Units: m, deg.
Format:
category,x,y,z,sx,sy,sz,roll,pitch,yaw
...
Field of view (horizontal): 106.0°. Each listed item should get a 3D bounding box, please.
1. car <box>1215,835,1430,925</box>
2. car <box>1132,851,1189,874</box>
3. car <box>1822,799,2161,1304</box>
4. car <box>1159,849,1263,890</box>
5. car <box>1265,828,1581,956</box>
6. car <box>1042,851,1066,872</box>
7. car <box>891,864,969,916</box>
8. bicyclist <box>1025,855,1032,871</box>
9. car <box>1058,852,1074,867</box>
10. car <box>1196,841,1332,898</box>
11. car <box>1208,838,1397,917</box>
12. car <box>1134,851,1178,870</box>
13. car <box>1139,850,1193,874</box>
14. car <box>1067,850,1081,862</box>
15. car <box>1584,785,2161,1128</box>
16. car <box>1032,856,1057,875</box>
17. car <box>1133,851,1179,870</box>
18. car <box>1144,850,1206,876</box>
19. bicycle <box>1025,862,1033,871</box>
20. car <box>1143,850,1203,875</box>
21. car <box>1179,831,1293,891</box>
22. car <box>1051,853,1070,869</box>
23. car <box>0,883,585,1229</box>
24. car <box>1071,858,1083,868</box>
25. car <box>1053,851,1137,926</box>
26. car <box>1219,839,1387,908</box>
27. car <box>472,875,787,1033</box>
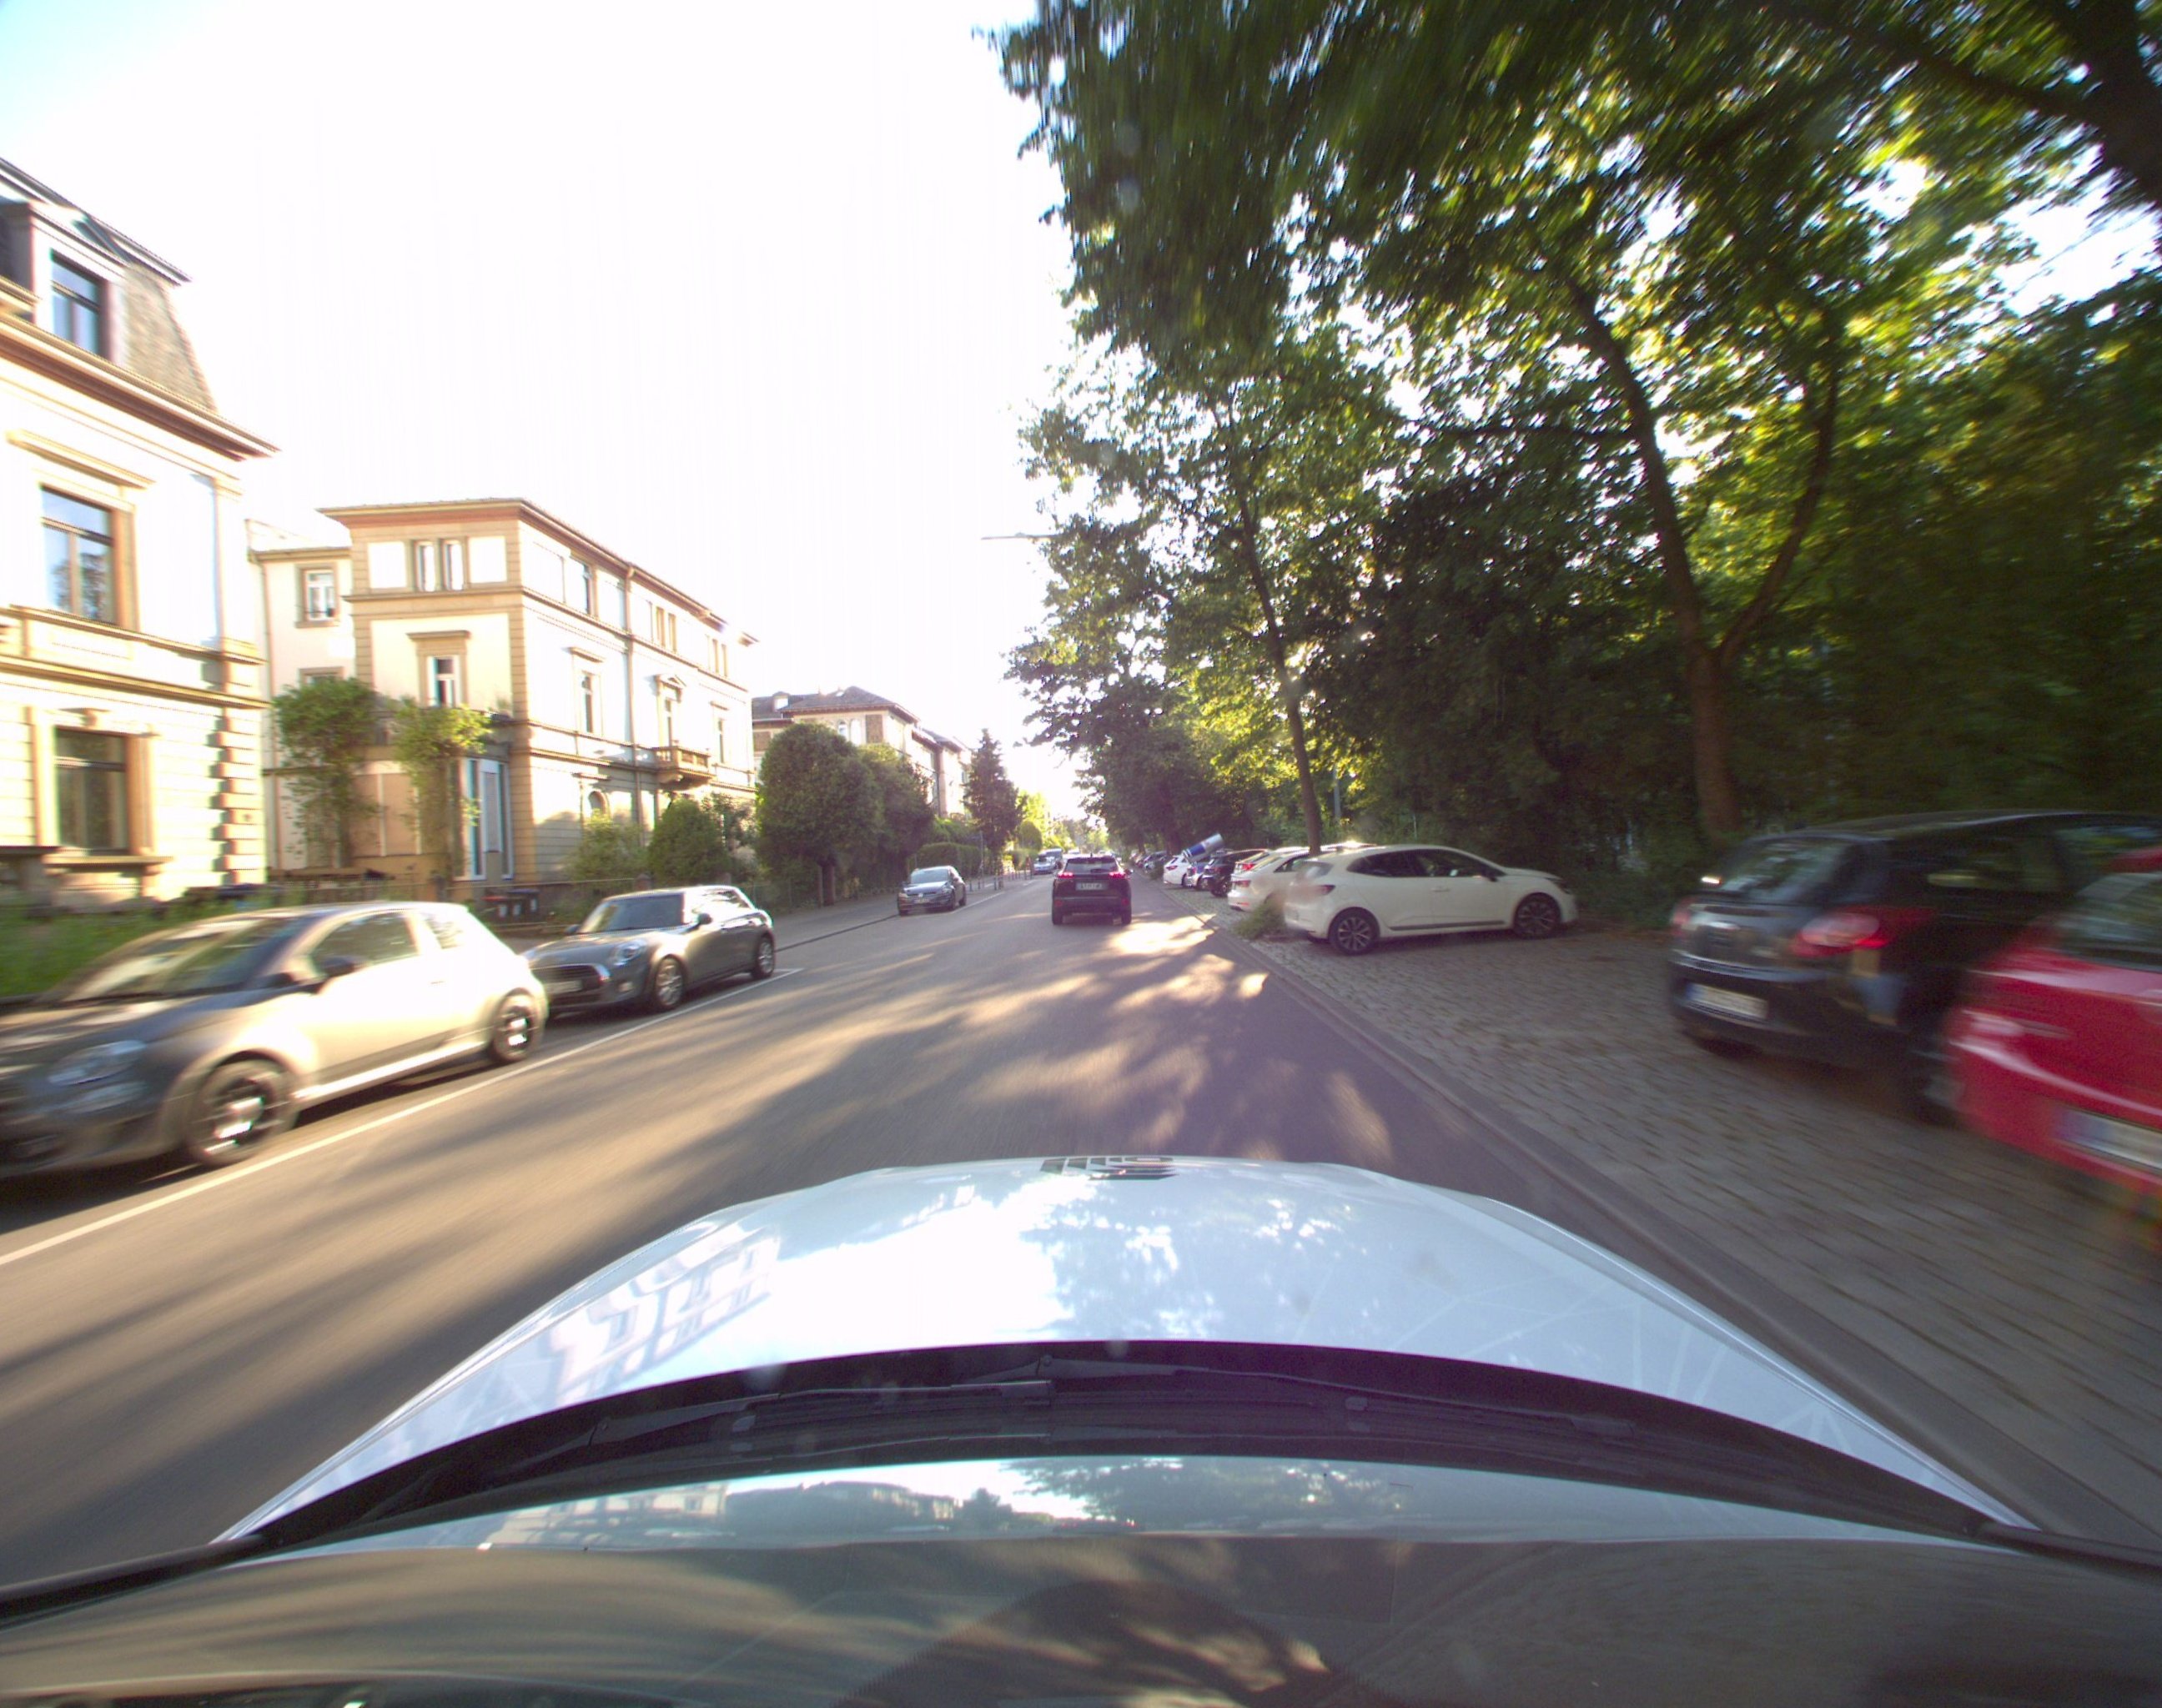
category,x,y,z,sx,sy,sz,roll,pitch,yaw
car,5.007,0.527,17.222,3.978,1.624,1.756,-2,0,-4
car,5.765,0.610,59.449,3.971,1.526,1.759,-3,0,2
car,5.012,0.454,2.418,3.793,1.448,1.878,-4,0,2
car,5.431,0.629,34.336,3.978,1.526,1.756,-2,0,-4
car,4.858,0.508,11.949,3.799,1.448,1.824,-4,0,-3
car,-2.699,0.712,83.093,1.985,2.013,4.003,-2,0,3
car,-4.935,1.146,27.121,1.746,1.413,3.764,-5,0,0
bicyclist,-5.700,0.972,88.821,0.691,1.792,0.772,-2,0,-1
car,-1.993,0.727,110.747,1.986,1.816,4.001,-2,0,1
car,5.909,0.499,26.590,3.978,1.624,1.756,-2,0,-4
car,5.213,0.536,19.490,3.978,1.624,1.756,-2,0,-4
car,6.965,0.577,75.678,3.971,1.526,1.759,-3,0,2
car,6.411,0.584,61.664,3.971,1.623,1.759,-3,0,2
car,-1.133,0.309,135.078,1.986,1.816,4.001,-2,0,1
car,5.518,0.425,4.912,3.799,1.510,1.824,-4,0,-3
car,-3.216,0.983,72.368,1.892,1.574,4.001,-2,0,1
car,6.739,0.581,73.249,3.971,1.526,1.759,-3,0,2
car,6.201,0.592,54.027,3.971,1.526,1.759,-3,0,2
bicycle,-5.691,1.361,88.911,0.690,1.015,2.048,-2,0,-1
car,6.343,0.583,56.521,3.971,1.526,1.759,-3,0,2
car,5.943,0.265,31.510,3.978,2.089,1.756,-2,0,-4
car,-2.377,0.835,94.965,1.986,1.768,4.001,-2,0,1
car,-5.683,1.052,5.817,1.607,1.466,4.038,-3,0,2
car,-0.750,1.652,152.343,1.986,1.816,4.001,-2,0,1
car,0.267,0.724,19.260,1.766,1.568,4.107,0,0,-1
car,5.925,0.498,22.028,3.978,1.624,1.756,-2,0,-4
car,-5.438,1.096,10.503,1.607,1.466,4.038,-3,0,2
